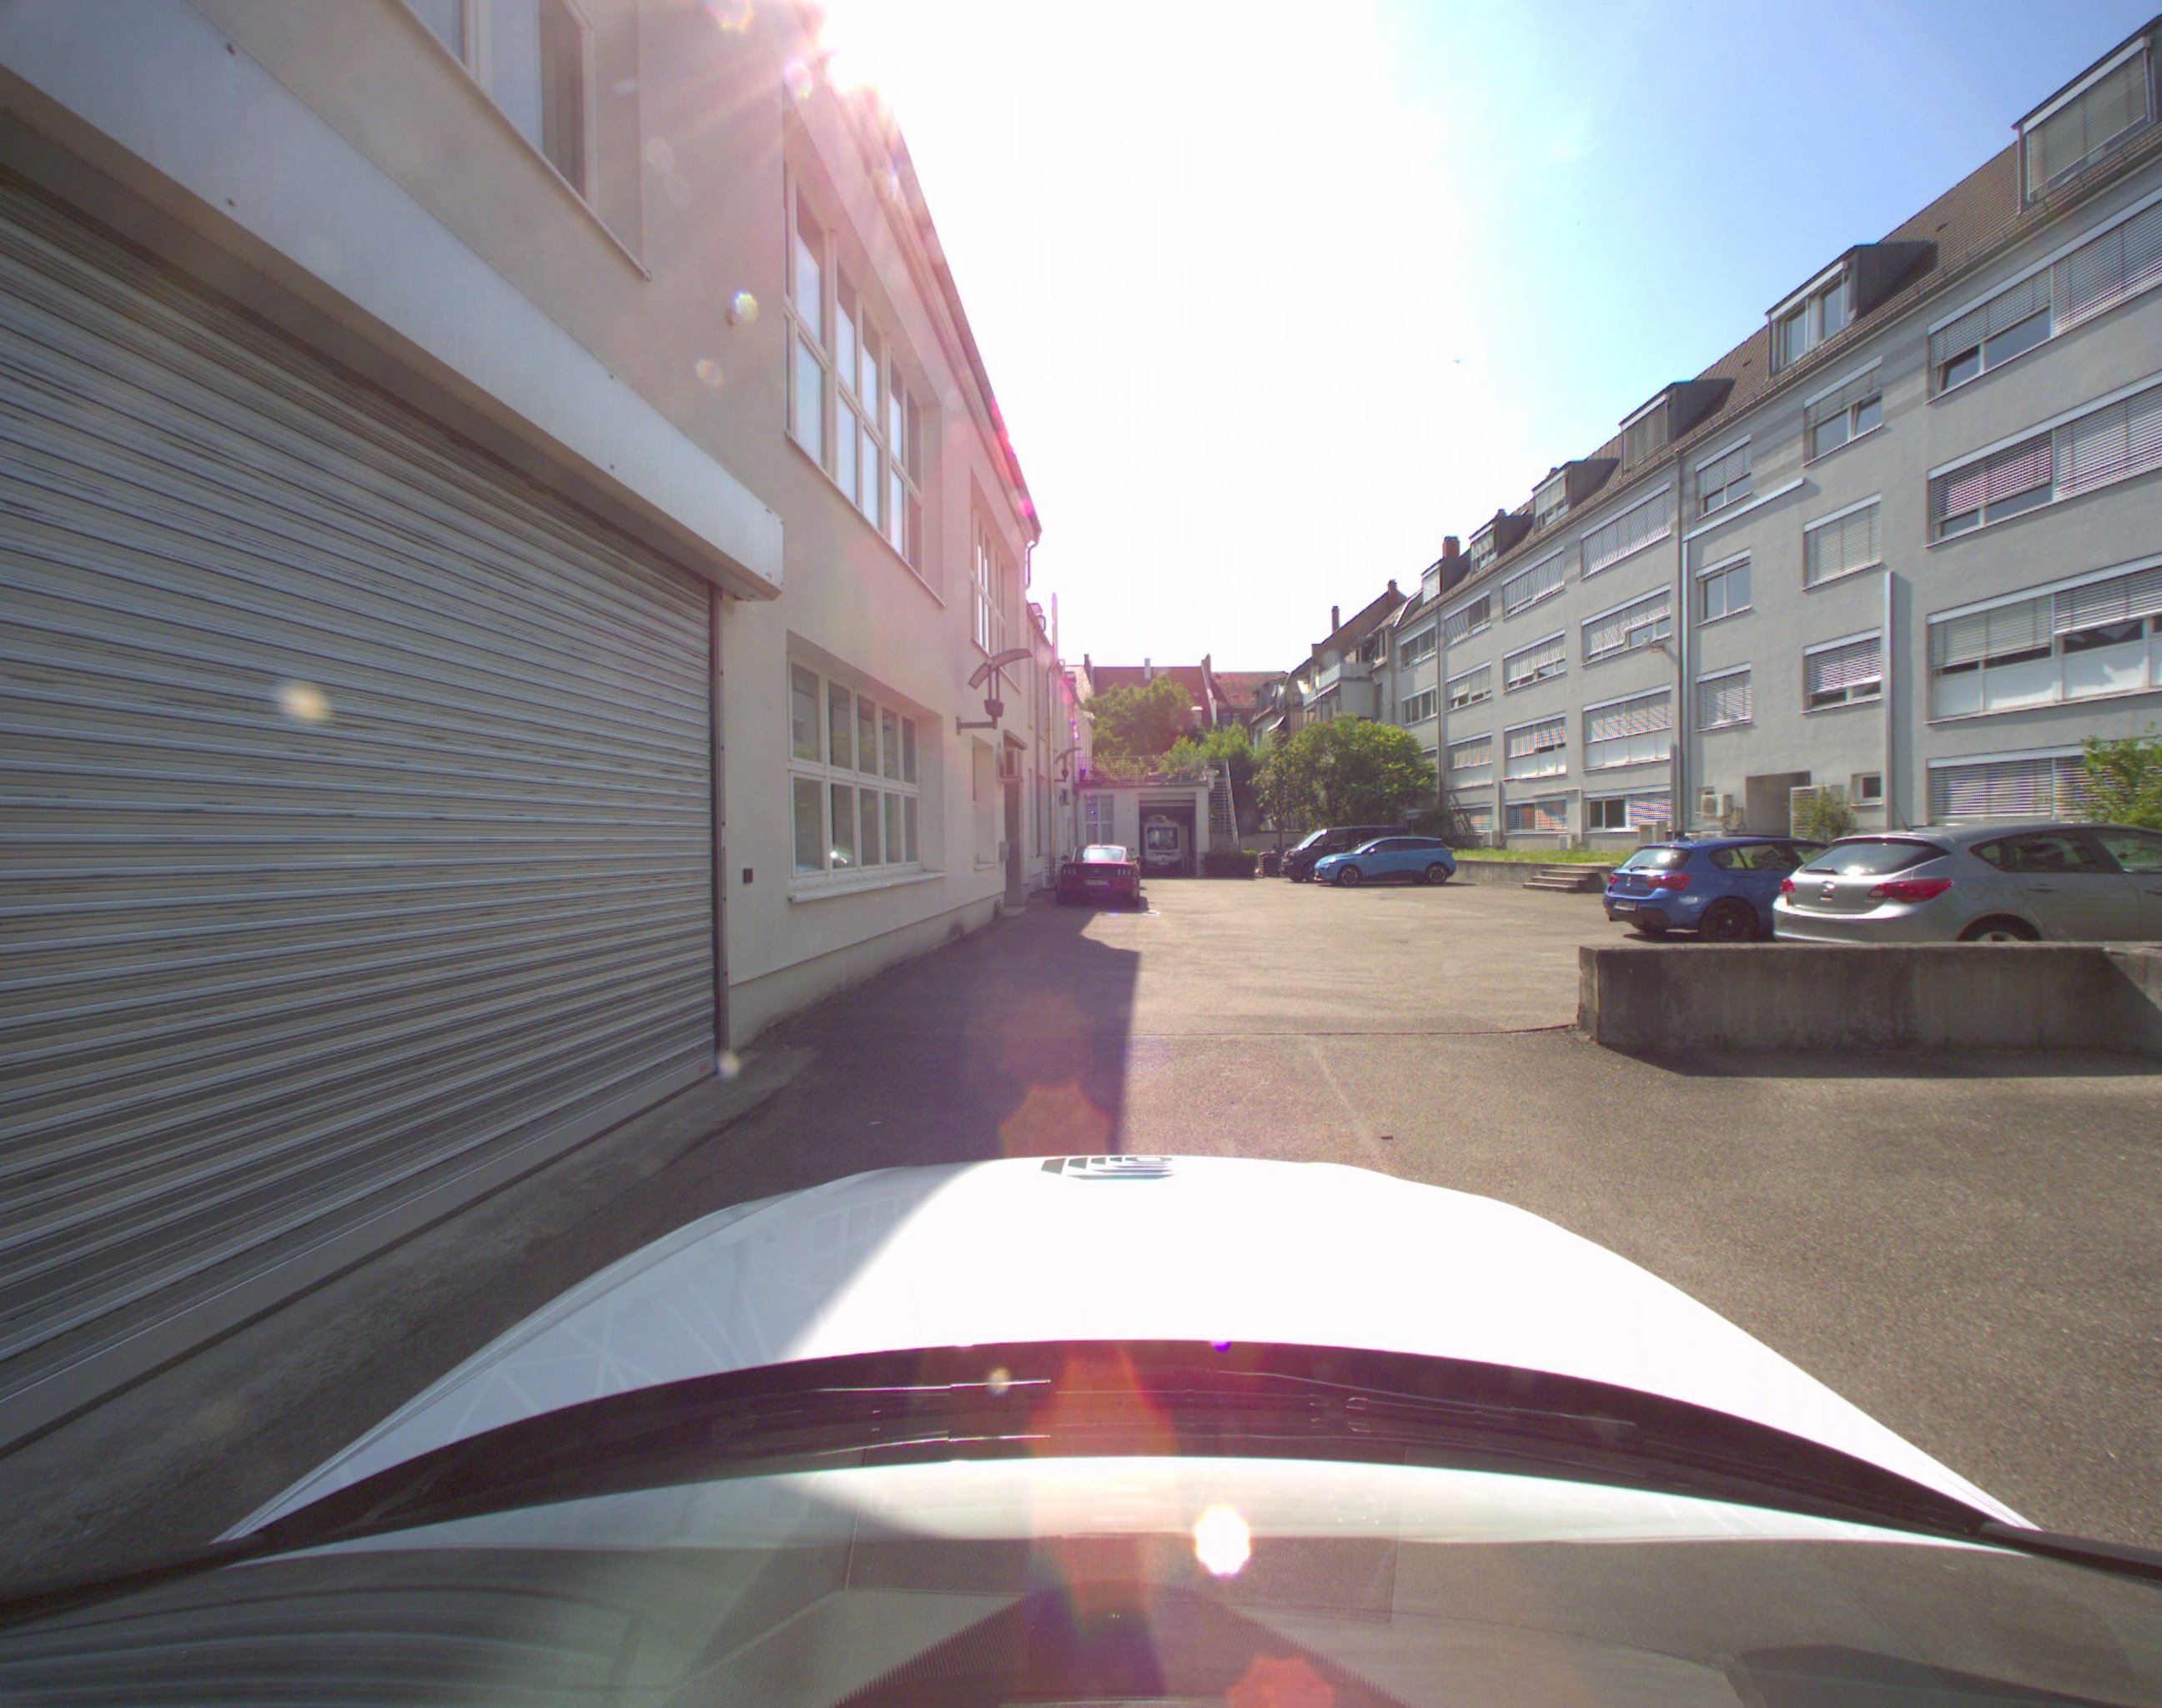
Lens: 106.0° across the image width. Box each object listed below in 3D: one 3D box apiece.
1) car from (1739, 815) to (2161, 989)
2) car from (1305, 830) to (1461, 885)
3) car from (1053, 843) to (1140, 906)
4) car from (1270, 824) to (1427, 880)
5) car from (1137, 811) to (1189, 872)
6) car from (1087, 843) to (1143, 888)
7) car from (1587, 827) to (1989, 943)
[{"bbox_3d":[9.099,0.380,7.878,3.971,1.427,1.813,-2,1,2],"label":"car"},{"bbox_3d":[9.514,0.082,25.905,4.213,1.532,2.001,-2,2,1],"label":"car"},{"bbox_3d":[0.472,0.411,19.594,1.843,1.319,4.005,1,1,4],"label":"car"},{"bbox_3d":[9.520,-0.109,29.170,4.948,1.767,2.091,-2,2,-8],"label":"car"},{"bbox_3d":[3.935,-0.566,39.225,2.163,2.607,6.745,-2,0,5],"label":"car"},{"bbox_3d":[1.168,0.333,26.459,1.606,1.295,3.765,-2,1,5],"label":"car"},{"bbox_3d":[9.531,0.392,11.255,3.968,1.394,1.691,-2,1,4],"label":"car"}]
